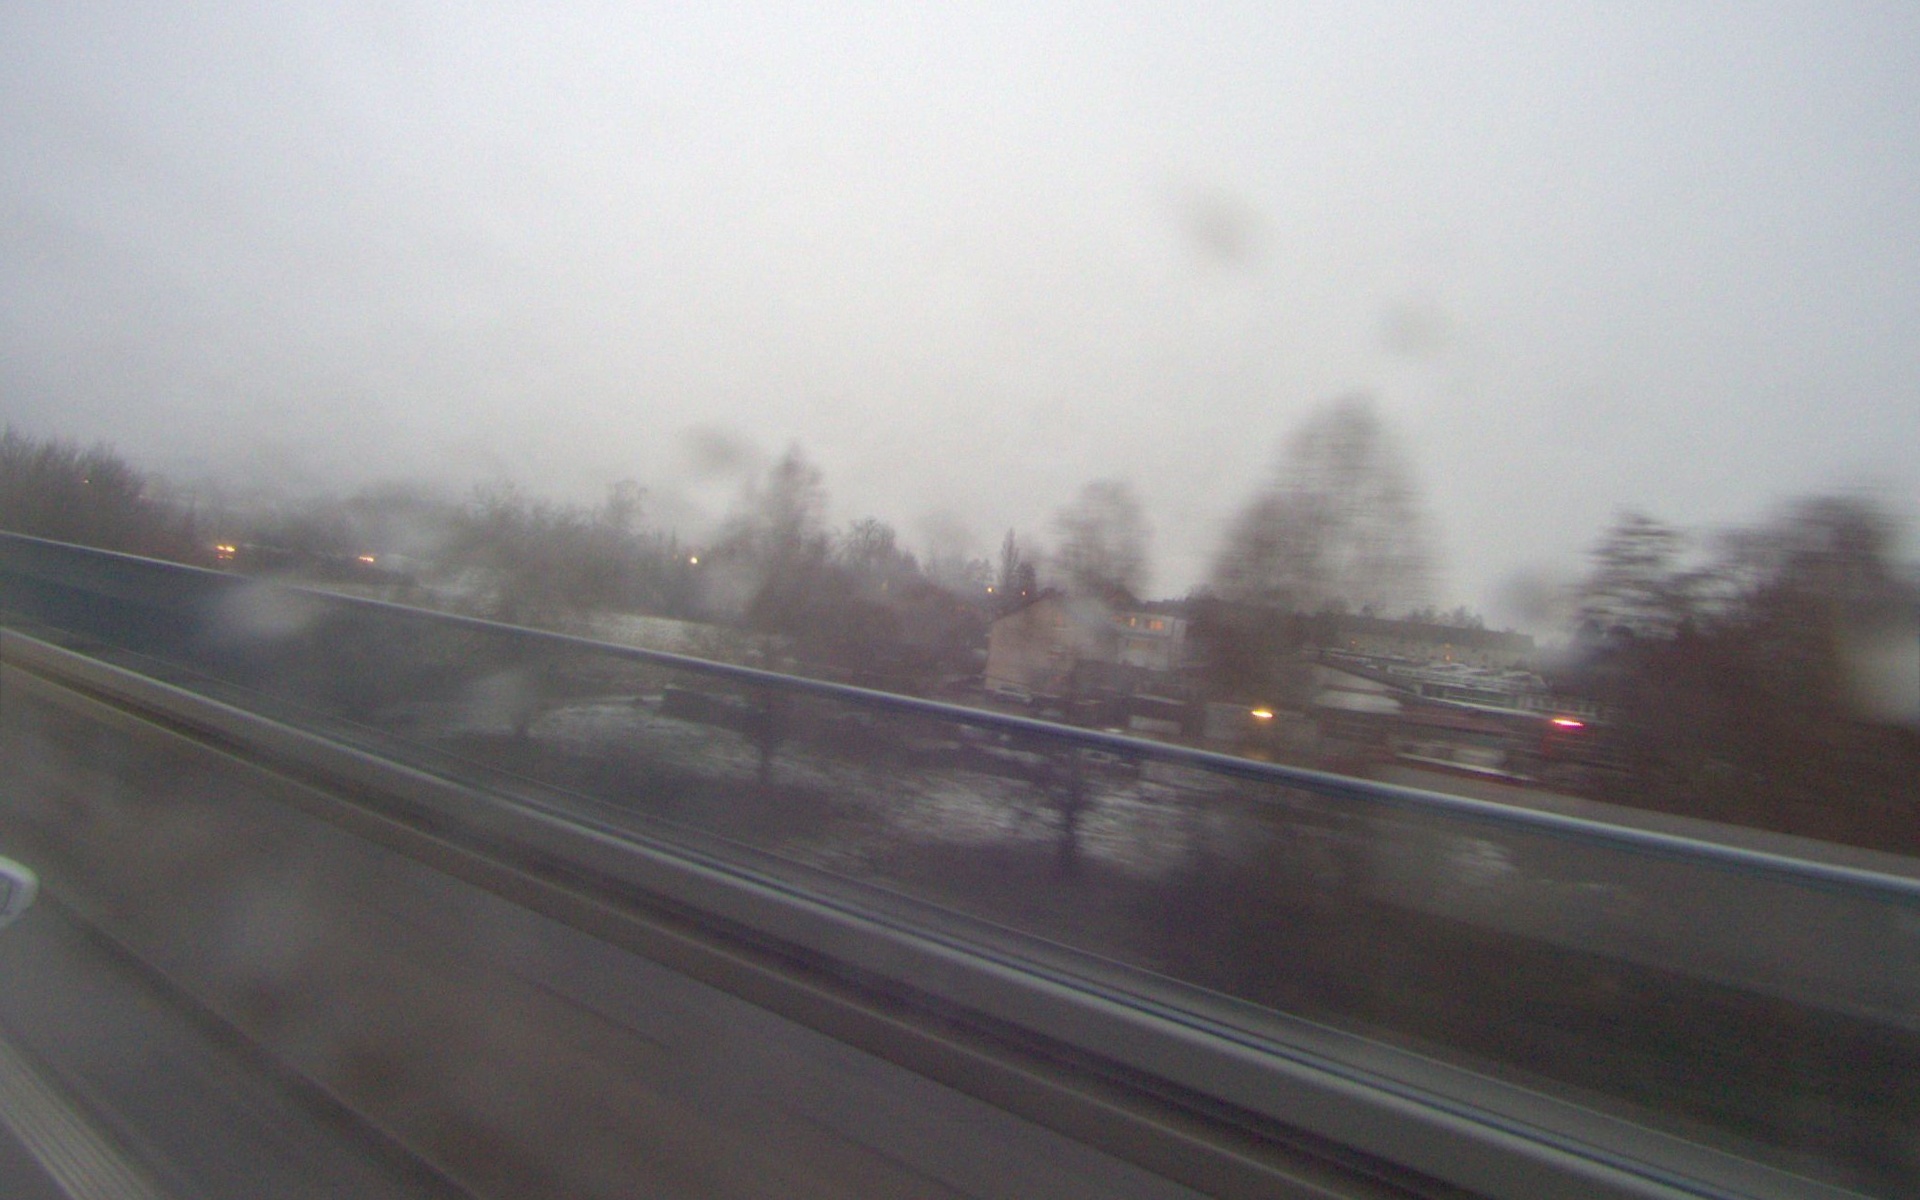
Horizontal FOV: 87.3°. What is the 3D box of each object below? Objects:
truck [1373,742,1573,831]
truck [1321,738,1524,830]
[{"bbox_3d":[29.830,10.802,59.054,9.973,3.271,2.794,6,-2,26],"label":"truck"},{"bbox_3d":[26.118,10.339,57.279,9.973,3.271,2.794,6,-2,26],"label":"truck"}]
